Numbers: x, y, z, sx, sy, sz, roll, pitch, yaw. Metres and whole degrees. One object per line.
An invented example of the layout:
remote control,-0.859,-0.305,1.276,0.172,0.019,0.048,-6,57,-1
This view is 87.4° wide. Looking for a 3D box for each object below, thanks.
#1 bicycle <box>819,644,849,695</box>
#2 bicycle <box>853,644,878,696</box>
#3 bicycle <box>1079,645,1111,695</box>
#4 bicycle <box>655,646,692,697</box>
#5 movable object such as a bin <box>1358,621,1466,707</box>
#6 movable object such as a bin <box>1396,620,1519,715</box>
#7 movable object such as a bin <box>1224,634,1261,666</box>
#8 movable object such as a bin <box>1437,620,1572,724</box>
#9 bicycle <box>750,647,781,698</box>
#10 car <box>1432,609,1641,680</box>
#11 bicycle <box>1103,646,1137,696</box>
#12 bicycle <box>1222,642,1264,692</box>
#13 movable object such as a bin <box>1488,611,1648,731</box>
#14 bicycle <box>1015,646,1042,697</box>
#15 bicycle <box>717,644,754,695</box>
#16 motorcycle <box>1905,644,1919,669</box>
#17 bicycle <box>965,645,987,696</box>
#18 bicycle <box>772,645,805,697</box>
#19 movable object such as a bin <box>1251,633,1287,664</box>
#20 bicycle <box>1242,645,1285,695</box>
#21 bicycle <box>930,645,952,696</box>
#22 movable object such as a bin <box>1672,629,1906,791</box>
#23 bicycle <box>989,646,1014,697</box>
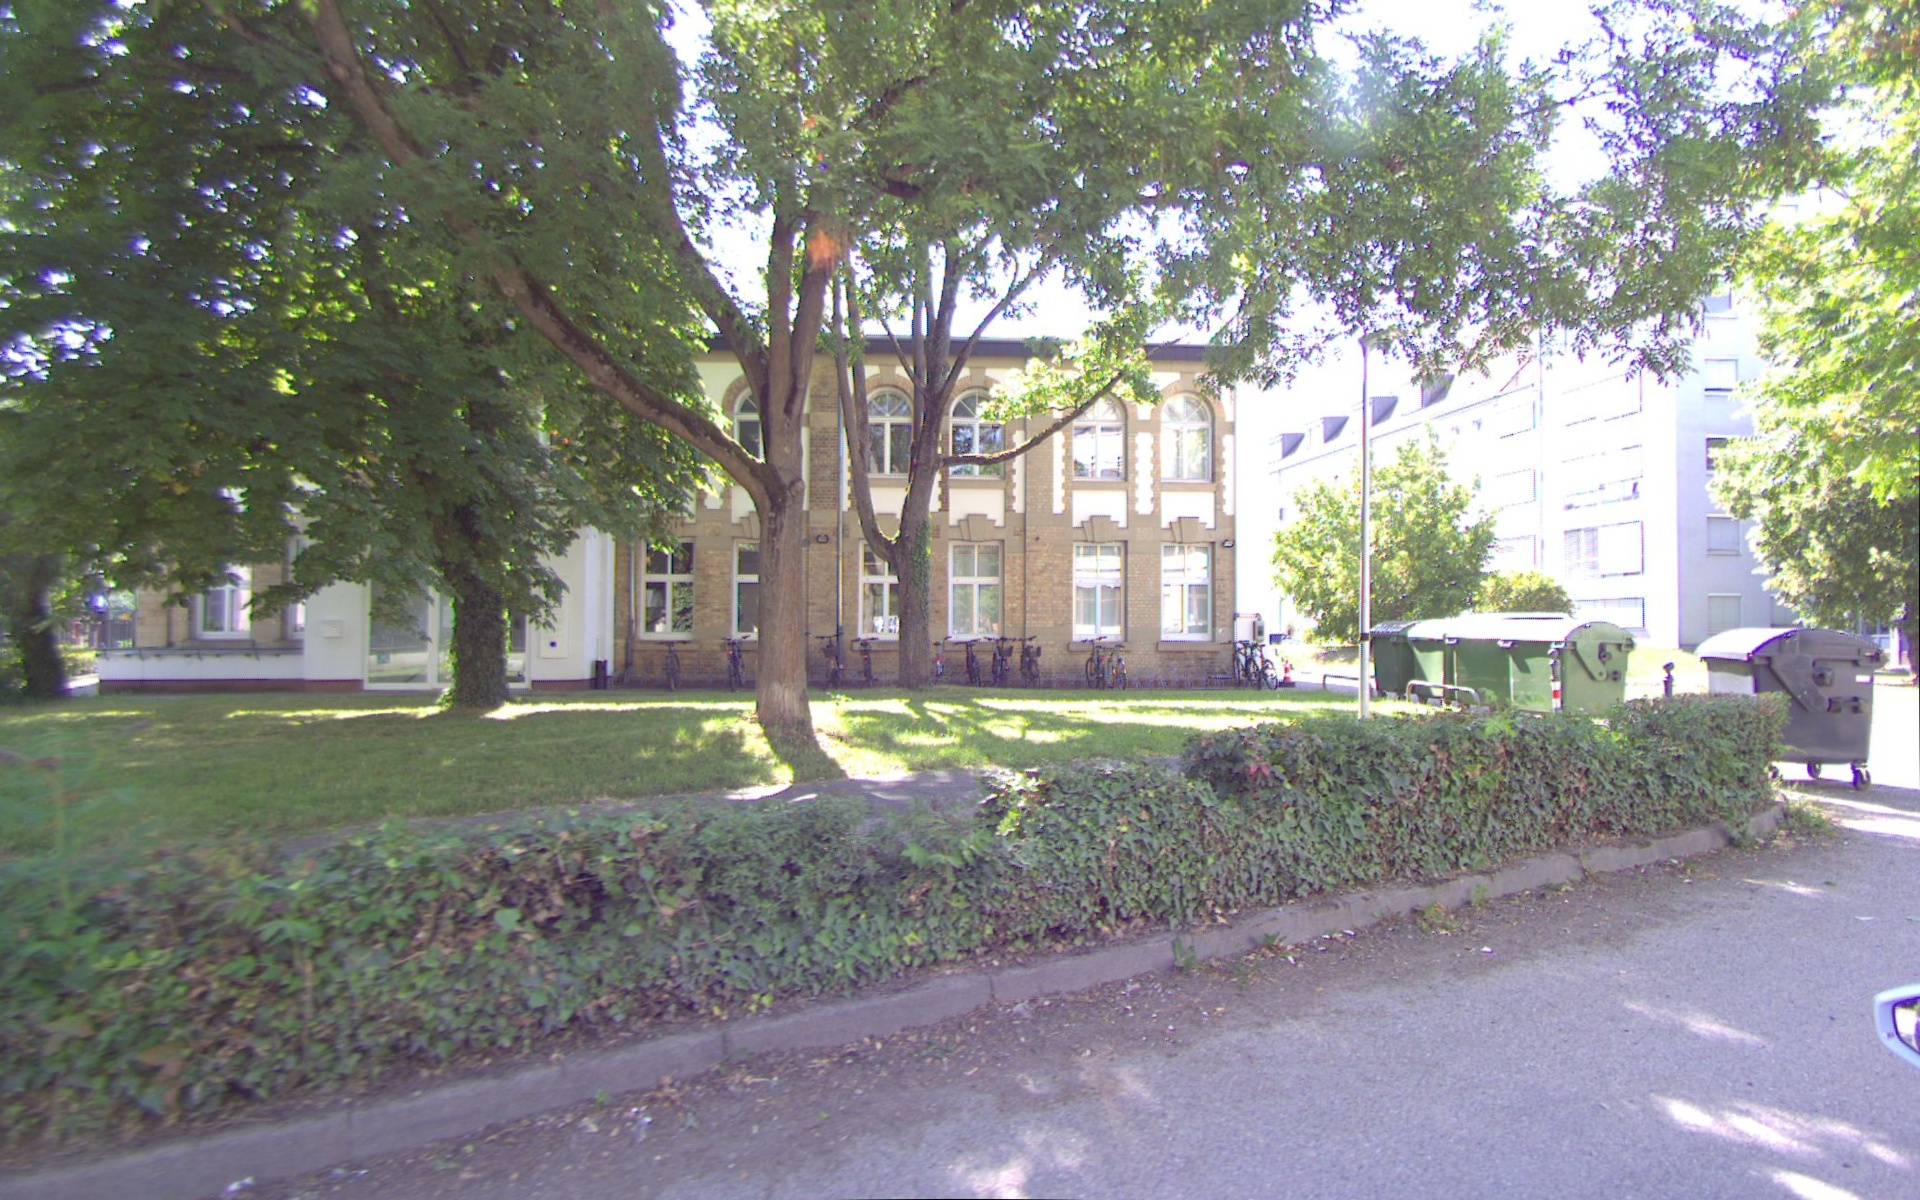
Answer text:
bicycle,-2.654,1.452,21.246,0.437,1.005,1.541,-1,-1,-1
bicycle,-1.998,1.470,21.392,0.437,1.005,1.541,-1,-1,-2
bicycle,2.912,1.492,21.727,0.437,1.005,1.666,-1,-1,-1
bicycle,-6.000,1.483,21.080,0.437,1.005,1.540,1,-2,-5
movable object such as a bin,7.883,1.098,17.600,1.224,1.450,1.349,0,-2,-4
movable object such as a bin,7.928,1.056,16.089,1.224,1.450,1.365,0,-2,-4
movable object such as a bin,12.425,2.196,44.258,1.227,1.336,1.142,-2,-3,-2
movable object such as a bin,7.943,1.026,14.700,1.227,1.450,1.220,0,-2,-14
bicycle,-4.096,1.516,21.219,0.367,1.002,1.600,0,-2,-1
car,16.587,1.285,29.072,4.942,1.958,2.000,0,-2,-2
bicycle,3.451,1.517,21.752,0.437,1.005,1.685,-1,-1,-1
bicycle,6.217,1.452,22.111,0.437,1.005,1.630,-1,-1,-1
movable object such as a bin,7.999,0.906,13.296,1.225,1.501,1.337,0,-2,-9
bicycle,1.466,1.523,21.671,0.437,1.005,1.541,-1,-1,-1
bicycle,-4.707,1.442,21.114,0.437,1.005,1.541,-1,-1,-1
motorcycle,49.360,2.866,51.080,2.022,1.263,0.630,0,-1,-2
bicycle,0.335,1.496,21.595,0.437,1.005,1.541,-1,-1,-1
bicycle,-3.623,1.478,21.255,0.437,1.005,1.541,-1,-1,-1
movable object such as a bin,13.682,2.154,44.510,1.227,1.358,1.142,0,-2,-1
bicycle,6.692,1.525,22.196,0.437,1.005,1.541,-1,-1,-1
bicycle,-0.395,1.485,21.463,0.437,1.005,1.541,-1,-1,-1
movable object such as a bin,7.850,0.993,9.629,1.223,1.415,1.405,0,-2,14
bicycle,0.877,1.513,21.632,0.437,1.005,1.541,-1,-1,-1
